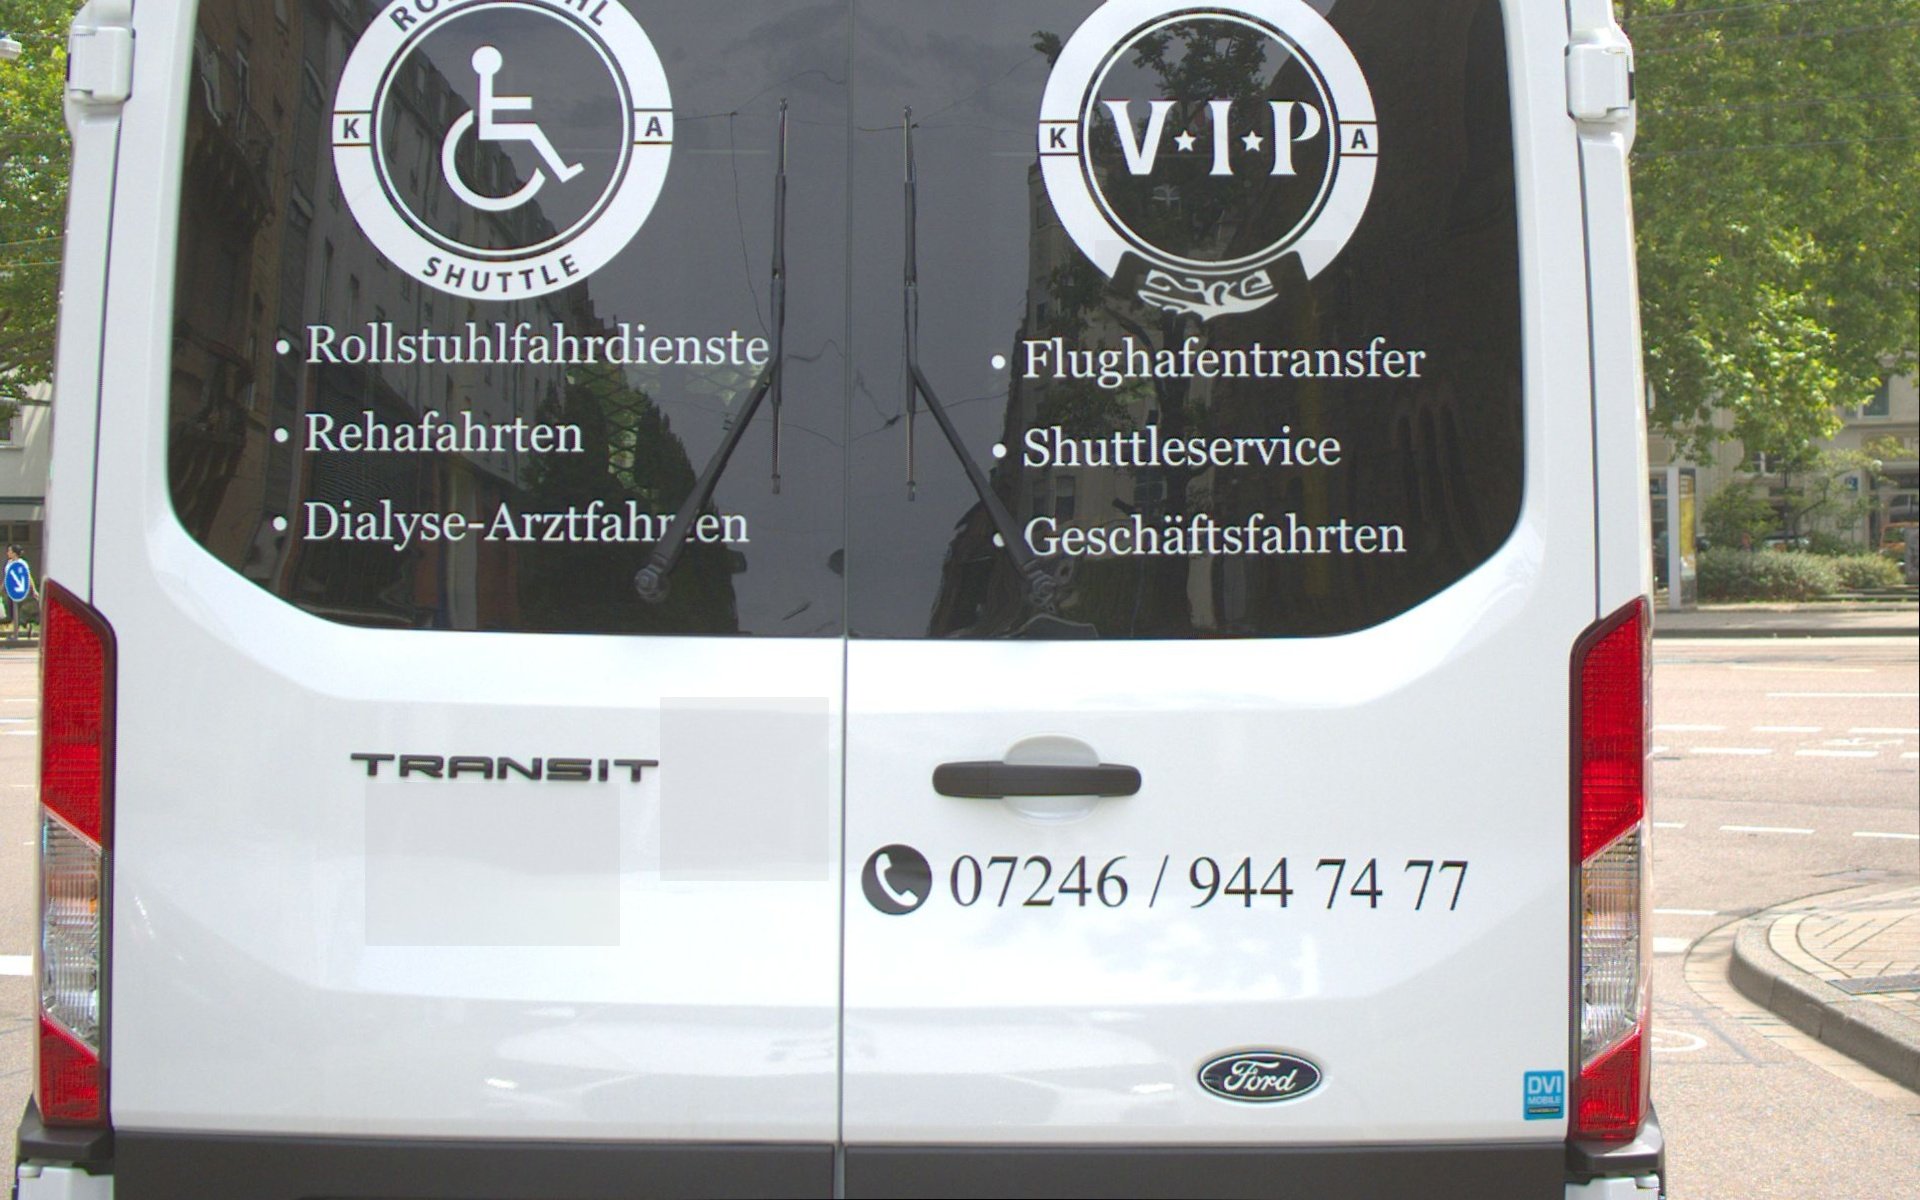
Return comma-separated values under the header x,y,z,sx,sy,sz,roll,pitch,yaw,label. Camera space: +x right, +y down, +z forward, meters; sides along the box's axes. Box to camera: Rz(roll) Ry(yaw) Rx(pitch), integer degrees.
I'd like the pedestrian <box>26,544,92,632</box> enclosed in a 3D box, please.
x,y,z,sx,sy,sz,roll,pitch,yaw,label
-15.705,-0.222,59.944,0.722,1.509,0.932,-2,2,-45,pedestrian

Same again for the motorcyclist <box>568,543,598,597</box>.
x,y,z,sx,sy,sz,roll,pitch,yaw,label
-9.717,-0.774,88.525,0.683,1.390,0.682,-1,1,0,motorcyclist

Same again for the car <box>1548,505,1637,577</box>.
x,y,z,sx,sy,sz,roll,pitch,yaw,label
17.449,-1.647,94.969,1.994,1.924,4.000,-1,1,4,car

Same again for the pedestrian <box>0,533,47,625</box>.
x,y,z,sx,sy,sz,roll,pitch,yaw,label
-16.198,-0.364,58.872,0.809,1.567,0.722,0,1,38,pedestrian

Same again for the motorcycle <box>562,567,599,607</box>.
x,y,z,sx,sy,sz,roll,pitch,yaw,label
-9.701,-0.330,87.964,0.683,0.968,2.324,-1,1,0,motorcycle

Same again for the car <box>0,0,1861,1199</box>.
x,y,z,sx,sy,sz,roll,pitch,yaw,label
-0.229,0.044,5.889,2.181,2.638,4.629,0,2,-2,car
